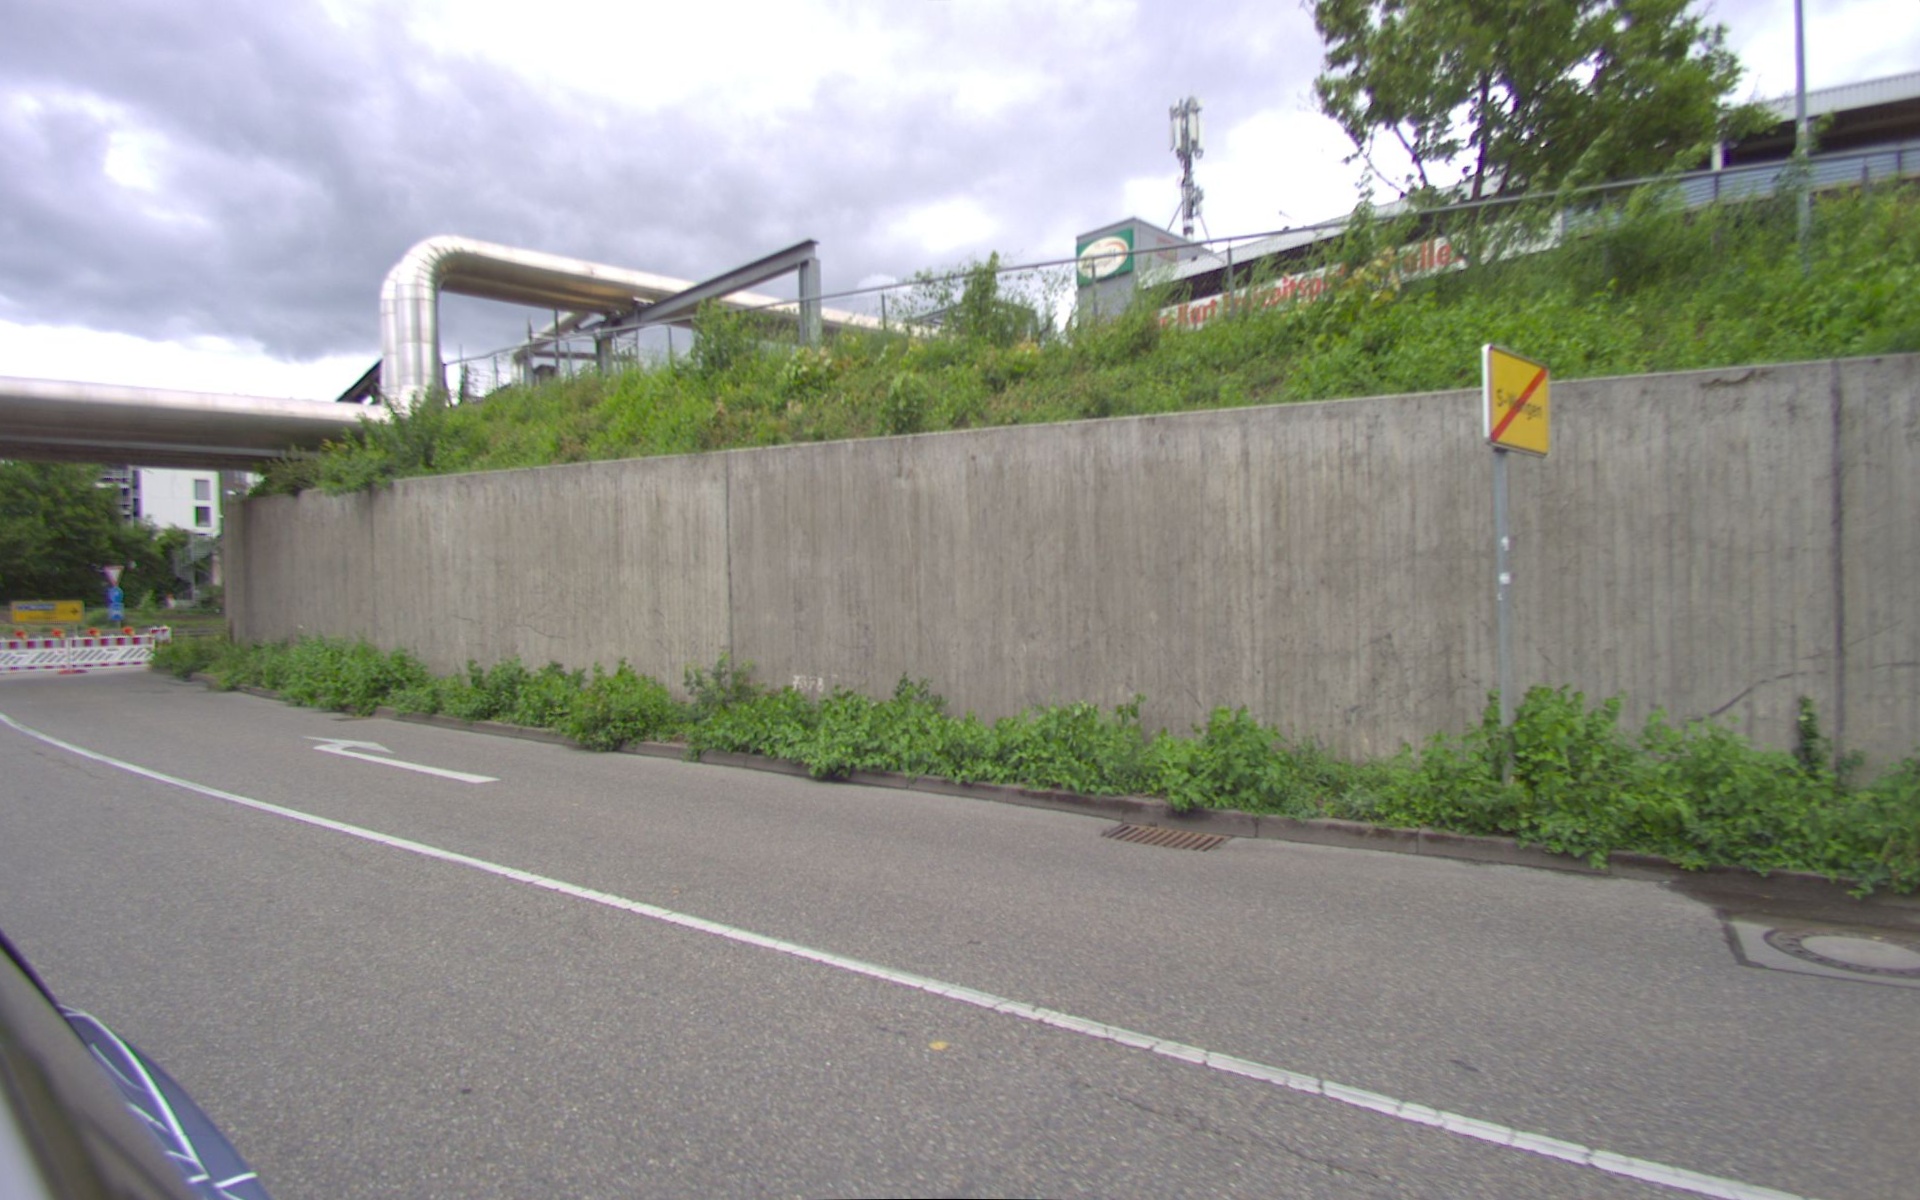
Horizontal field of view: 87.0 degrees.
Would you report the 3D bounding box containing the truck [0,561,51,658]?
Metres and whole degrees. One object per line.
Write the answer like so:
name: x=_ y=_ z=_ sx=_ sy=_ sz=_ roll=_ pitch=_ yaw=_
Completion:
truck: x=-43.724 y=0.415 z=42.392 sx=3.163 sy=4.161 sz=8.031 roll=2 pitch=2 yaw=40
